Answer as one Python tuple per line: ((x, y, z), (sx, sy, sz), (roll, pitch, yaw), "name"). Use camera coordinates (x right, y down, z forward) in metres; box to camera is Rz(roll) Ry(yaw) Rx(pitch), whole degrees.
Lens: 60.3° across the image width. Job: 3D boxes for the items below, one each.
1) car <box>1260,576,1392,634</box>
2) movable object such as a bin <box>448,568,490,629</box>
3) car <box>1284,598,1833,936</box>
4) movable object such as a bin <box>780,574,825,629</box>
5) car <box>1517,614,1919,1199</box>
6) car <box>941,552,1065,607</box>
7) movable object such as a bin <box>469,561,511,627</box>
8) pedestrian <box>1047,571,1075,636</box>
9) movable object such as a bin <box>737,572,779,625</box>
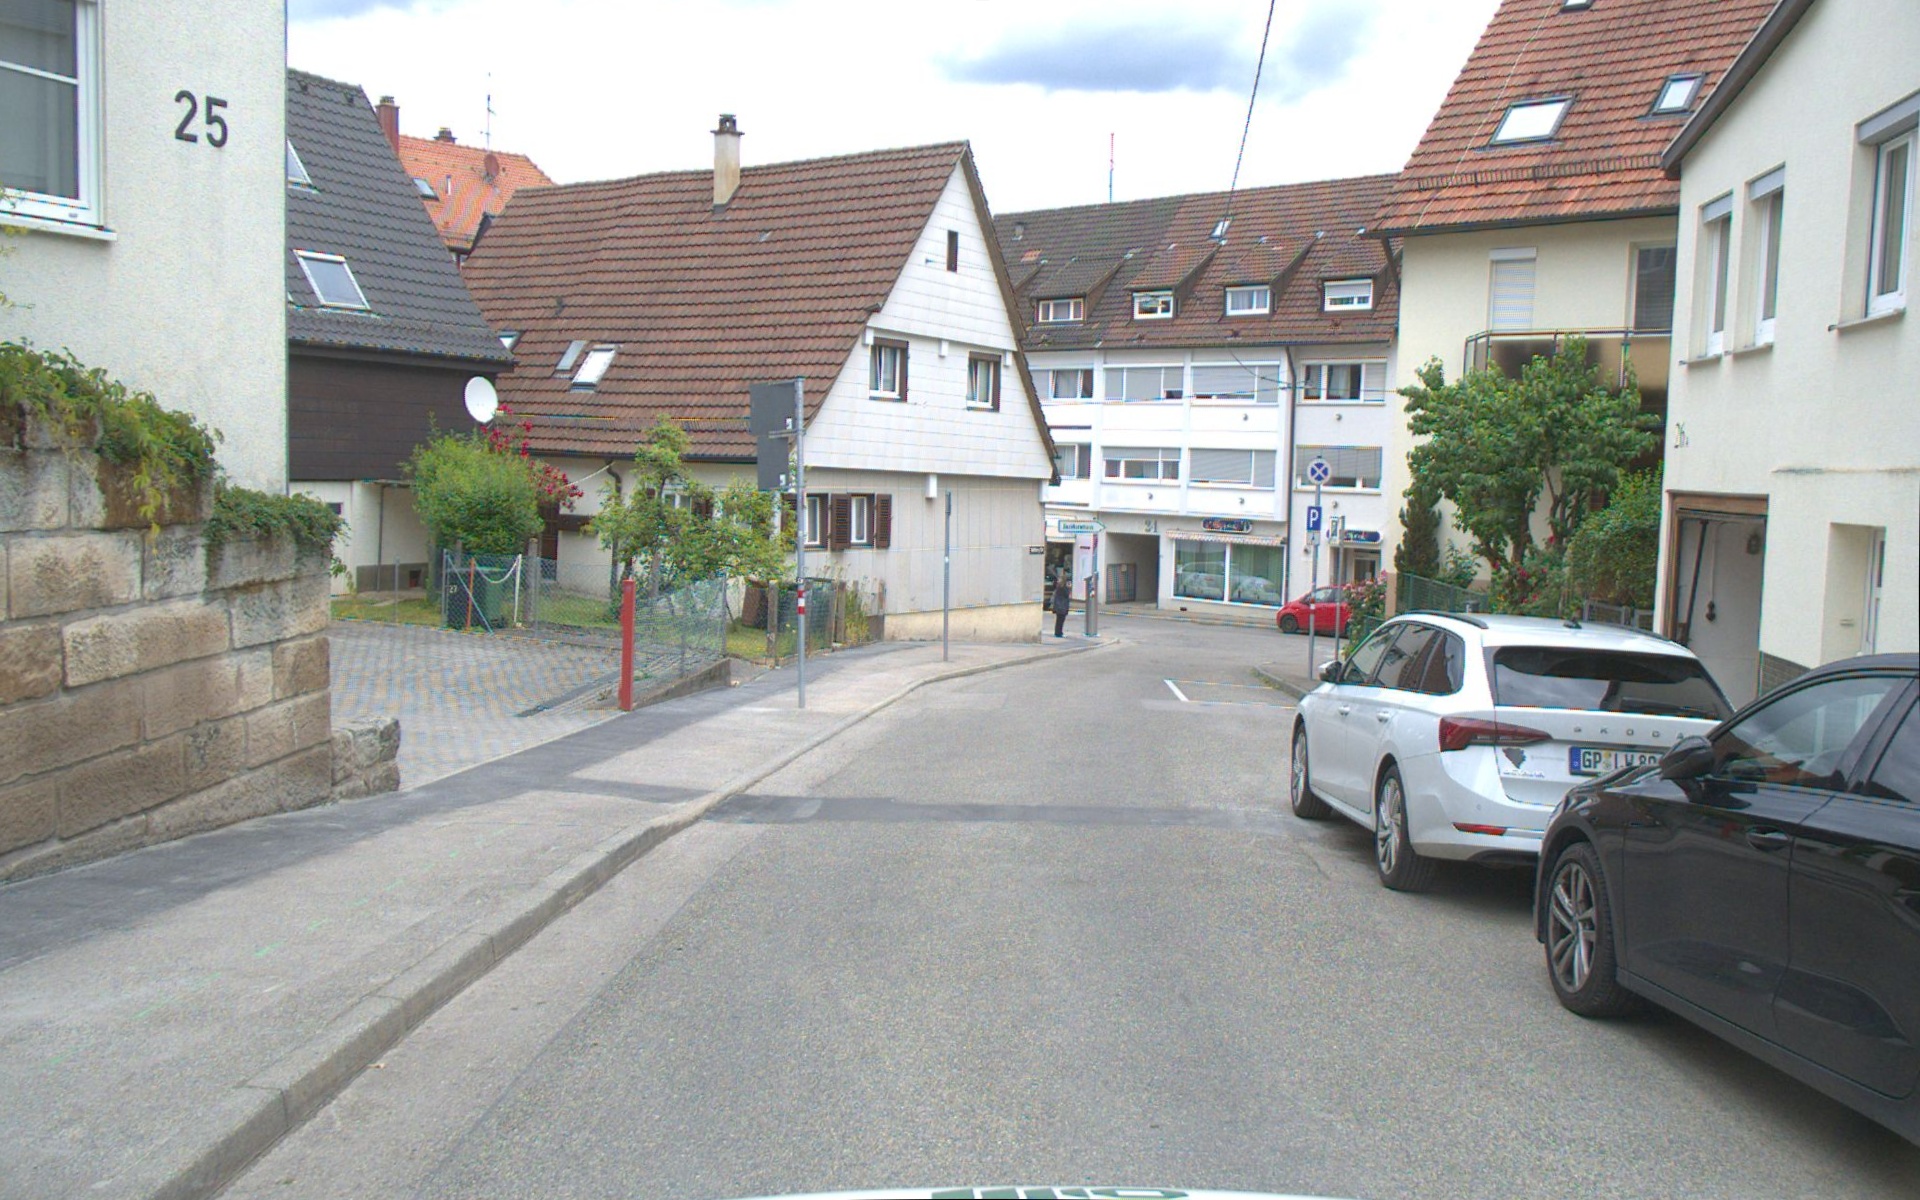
((11.341, 0.127, 51.386), (3.635, 1.583, 1.685), (4, 3, 45), "car")
((-7.419, -0.022, 24.977), (0.368, 0.909, 0.490), (2, 0, 20), "movable object such as a bin")
((3.229, 0.781, 9.915), (1.758, 1.470, 4.298), (3, 0, 1), "car")
((-2.778, 0.020, 29.104), (0.517, 0.899, 0.489), (6, 1, 33), "movable object such as a bin")
((3.181, 0.837, 4.826), (1.640, 1.433, 4.051), (4, 0, -1), "car")
((1.540, -0.765, 60.208), (4.294, 1.810, 1.935), (4, 3, 43), "car")
((-7.241, -0.090, 25.500), (0.390, 0.998, 0.508), (1, 0, 20), "movable object such as a bin")
((2.744, 0.078, 44.711), (0.633, 1.714, 0.605), (2, 2, 9), "pedestrian")
((-3.624, -0.023, 29.725), (0.486, 0.893, 0.451), (6, 1, 33), "movable object such as a bin")
